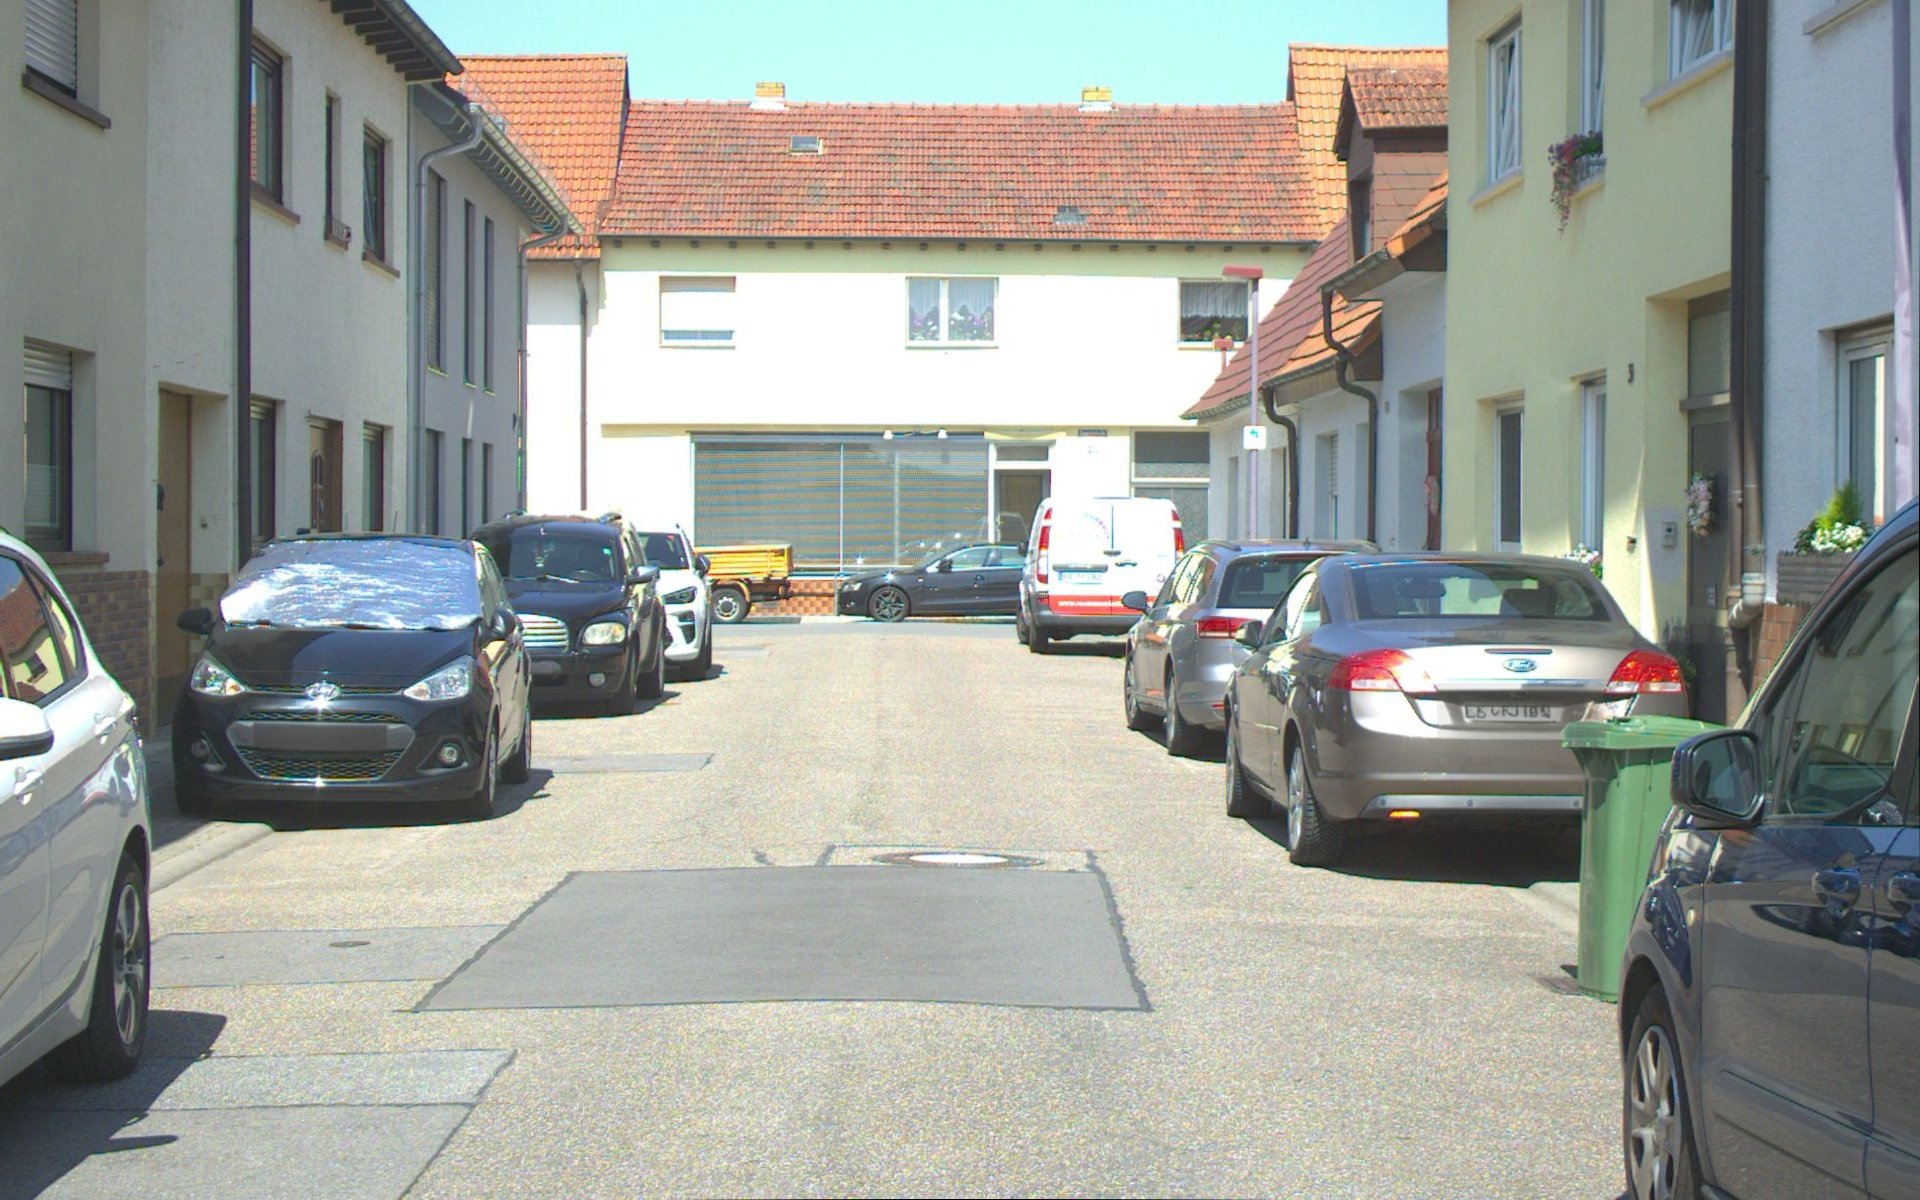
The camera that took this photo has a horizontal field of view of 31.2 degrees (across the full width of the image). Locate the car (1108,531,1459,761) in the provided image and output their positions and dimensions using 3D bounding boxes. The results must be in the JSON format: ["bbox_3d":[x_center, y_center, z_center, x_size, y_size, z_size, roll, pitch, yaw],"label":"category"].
[{"bbox_3d":[2.197,0.251,24.605,1.838,1.443,4.777,1,1,-2],"label":"car"}]

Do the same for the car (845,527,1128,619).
[{"bbox_3d":[0.407,-0.440,57.407,4.616,1.389,1.928,1,-2,-2],"label":"car"}]

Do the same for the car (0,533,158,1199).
[{"bbox_3d":[-3.006,0.612,7.856,1.662,1.543,3.943,0,1,-4],"label":"car"}]

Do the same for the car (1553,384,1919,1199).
[{"bbox_3d":[2.314,0.560,5.804,1.696,1.771,4.200,1,1,-2],"label":"car"}]

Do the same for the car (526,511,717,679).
[{"bbox_3d":[-3.428,-0.092,35.436,1.774,1.610,4.350,-1,1,-3],"label":"car"}]

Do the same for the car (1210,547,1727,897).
[{"bbox_3d":[2.306,0.486,16.616,1.696,1.430,4.103,1,1,-2],"label":"car"}]

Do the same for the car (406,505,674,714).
[{"bbox_3d":[-3.437,0.035,28.770,1.722,1.610,3.989,-1,1,0],"label":"car"}]

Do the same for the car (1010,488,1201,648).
[{"bbox_3d":[1.751,-0.431,43.080,2.012,1.832,5.266,1,1,-1],"label":"car"}]

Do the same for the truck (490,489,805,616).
[{"bbox_3d":[-5.161,-0.793,57.367,5.063,2.007,2.190,1,0,-1],"label":"truck"}]

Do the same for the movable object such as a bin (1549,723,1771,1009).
[{"bbox_3d":[2.305,0.868,11.366,0.549,0.888,0.579,1,1,-8],"label":"movable object such as a bin"}]

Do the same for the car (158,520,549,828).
[{"bbox_3d":[-3.280,0.335,19.242,1.640,1.532,3.943,-1,1,-2],"label":"car"}]
